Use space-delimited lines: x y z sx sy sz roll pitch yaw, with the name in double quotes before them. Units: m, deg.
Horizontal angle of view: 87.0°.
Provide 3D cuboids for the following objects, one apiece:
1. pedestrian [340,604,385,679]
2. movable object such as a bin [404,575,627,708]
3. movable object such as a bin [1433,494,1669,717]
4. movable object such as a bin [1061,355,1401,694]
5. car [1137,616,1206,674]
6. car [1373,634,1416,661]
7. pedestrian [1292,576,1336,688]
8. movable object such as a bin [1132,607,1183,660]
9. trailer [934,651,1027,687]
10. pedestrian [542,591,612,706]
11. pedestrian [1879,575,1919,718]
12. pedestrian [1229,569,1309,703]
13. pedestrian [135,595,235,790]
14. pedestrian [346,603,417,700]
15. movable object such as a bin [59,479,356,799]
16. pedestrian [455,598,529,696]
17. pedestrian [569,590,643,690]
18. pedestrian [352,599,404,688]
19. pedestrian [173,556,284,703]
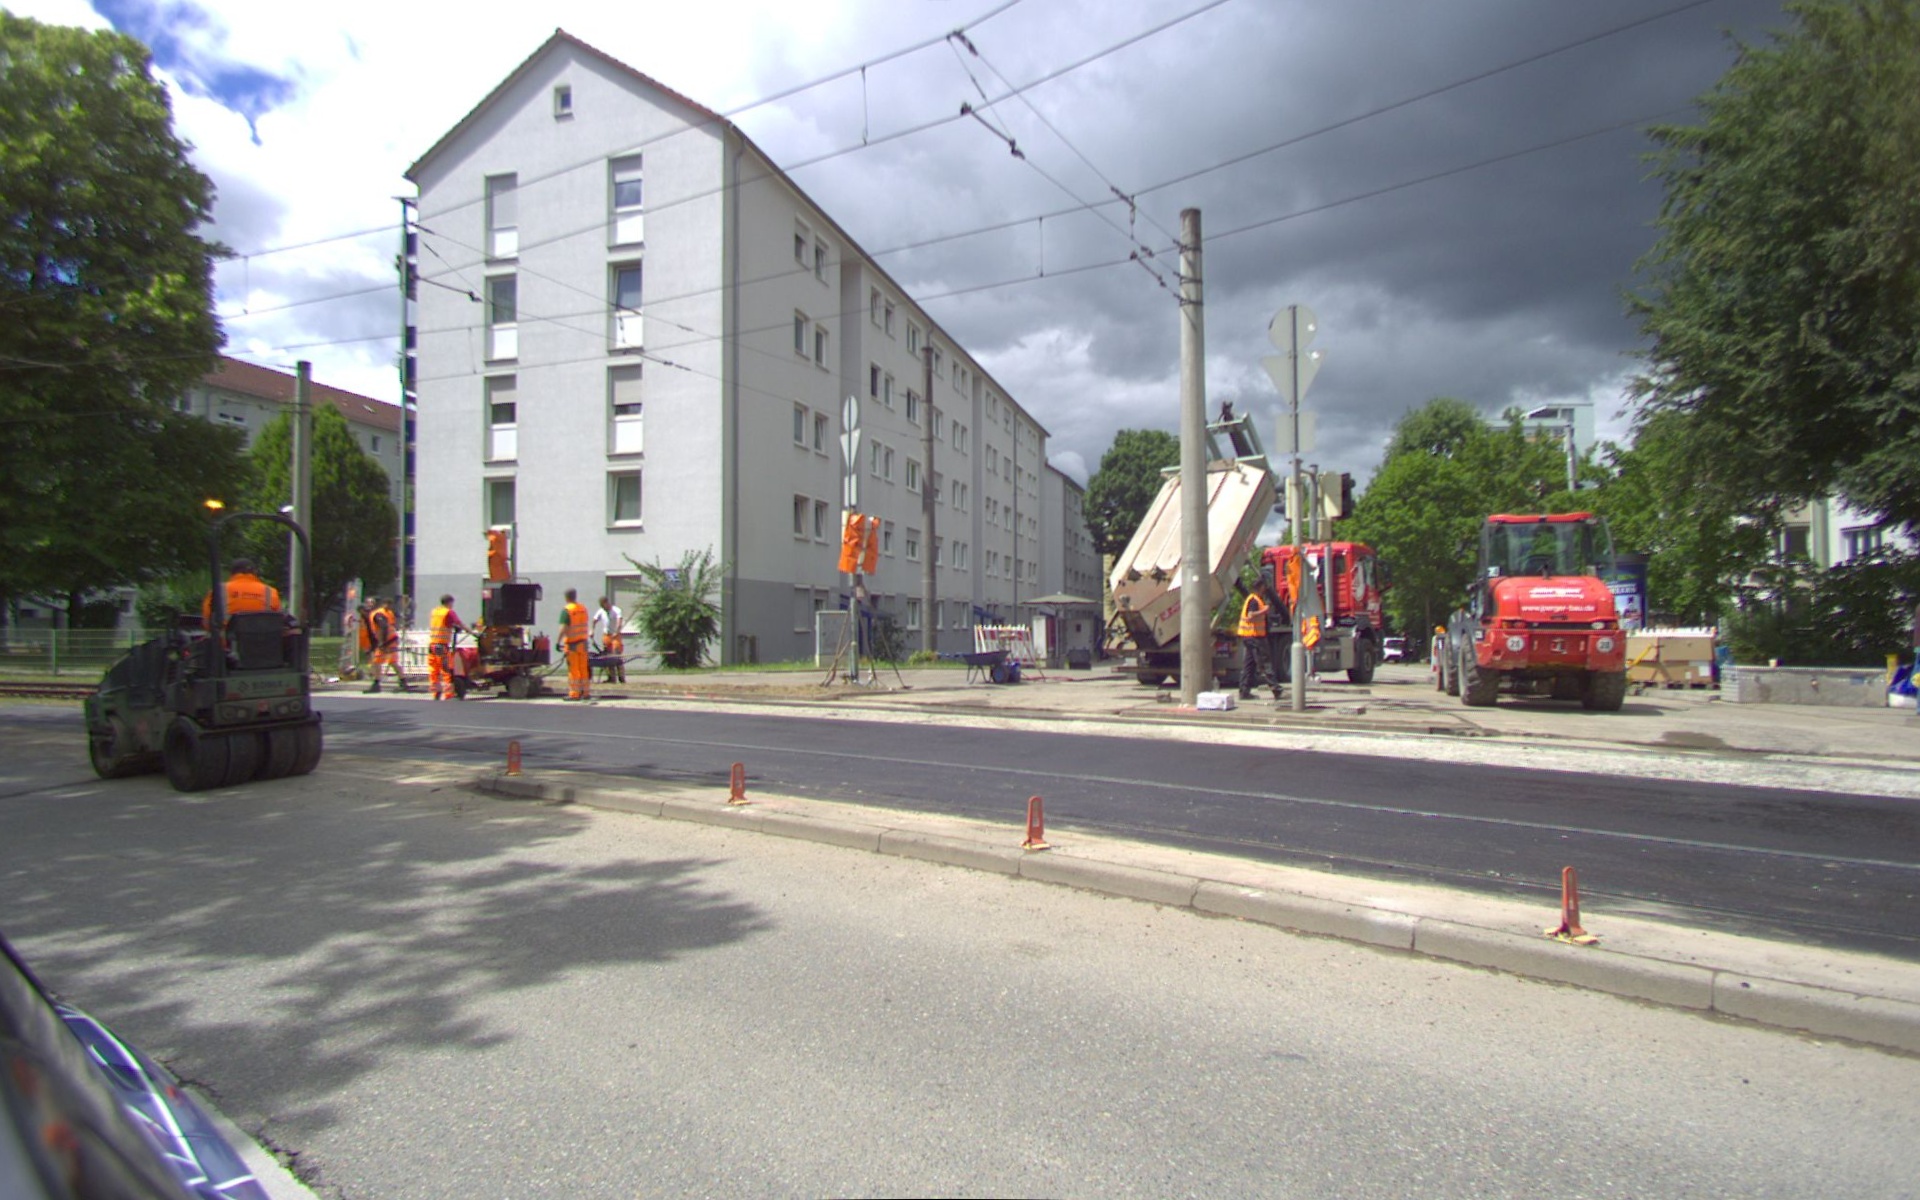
"pedestrian" -13.814 0.944 23.397 0.866 1.696 0.669 0 -1 -33
"movable object such as a bin" -7.424 0.683 16.987 2.951 2.029 1.983 -1 -2 25
"movable object such as a bin" 8.527 0.104 15.198 2.101 2.689 5.549 0 -1 21
"movable object such as a bin" 5.907 -1.082 20.679 2.821 5.527 8.906 -2 -3 43
"car" 7.349 1.565 35.581 1.976 1.896 4.333 0 -2 7
"car" 25.866 2.794 60.346 1.661 1.516 3.983 0 -2 13
"pedestrian" 5.839 0.528 16.706 0.608 1.802 0.578 -2 -2 19
"movable object such as a bin" 9.328 1.603 48.066 1.975 2.428 3.993 0 -2 5
"trailer" 0.375 1.273 18.904 1.596 0.621 0.787 -2 -3 40
"pedestrian" -6.318 0.791 16.710 0.761 1.853 0.780 -1 -2 13
"pedestrian" 11.670 0.540 11.929 0.867 1.672 0.923 -2 -2 18
"pedestrian" 4.458 0.506 14.597 0.967 1.846 0.788 -1 -1 29
"pedestrian" -6.983 0.811 9.123 0.554 1.694 0.467 -1 0 19
"pedestrian" -10.647 0.942 18.635 0.912 1.729 0.748 -2 -2 21
"movable object such as a bin" -6.969 0.343 9.388 2.350 2.613 1.309 -1 -1 27
"pedestrian" -8.527 0.847 18.457 0.914 1.729 0.852 -2 -2 26
"pedestrian" -6.759 0.763 19.358 0.866 1.838 1.091 -1 -2 15
"pedestrian" -12.897 0.954 22.454 0.865 1.922 0.669 0 -1 -19
"pedestrian" -6.372 0.261 8.823 0.614 1.226 0.546 -1 -2 26
